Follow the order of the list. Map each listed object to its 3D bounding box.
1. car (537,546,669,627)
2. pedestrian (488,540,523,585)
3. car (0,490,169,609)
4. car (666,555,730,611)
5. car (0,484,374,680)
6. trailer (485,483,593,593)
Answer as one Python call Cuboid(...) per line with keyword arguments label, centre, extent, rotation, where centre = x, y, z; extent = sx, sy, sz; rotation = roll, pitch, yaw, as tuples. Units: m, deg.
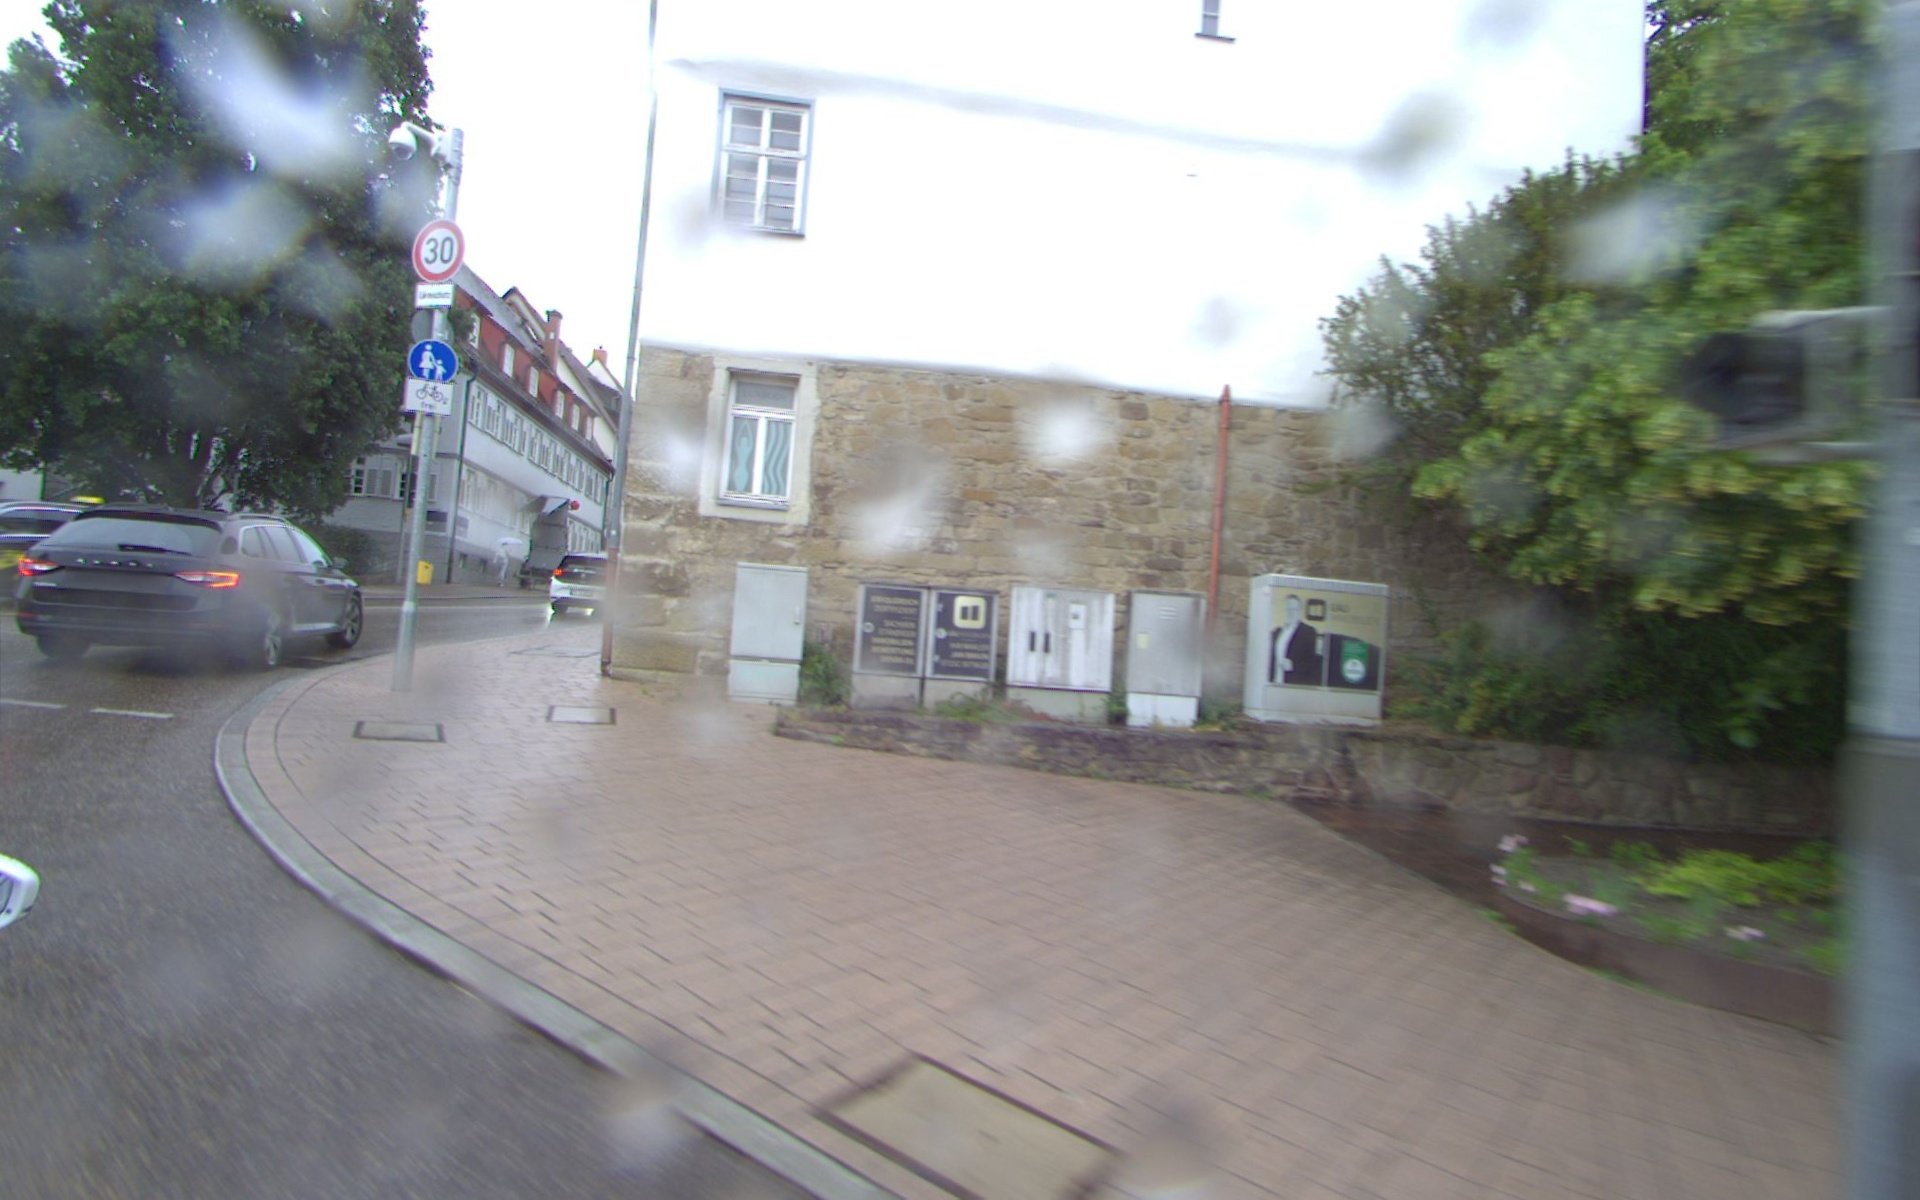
Cuboid(label="car", centre=(-8.724, -0.251, 24.985), extent=(1.828, 1.488, 4.005), rotation=(7, -4, -2))
Cuboid(label="pedestrian", centre=(-16.796, -1.378, 37.169), extent=(0.696, 1.550, 1.044), rotation=(6, 1, -1))
Cuboid(label="car", centre=(-13.557, -0.757, 13.530), extent=(1.962, 1.558, 4.414), rotation=(6, 0, 6))
Cuboid(label="car", centre=(-9.307, -0.554, 35.996), extent=(1.603, 1.547, 4.002), rotation=(4, -4, -7))
Cuboid(label="car", centre=(-7.739, -0.170, 10.515), extent=(1.865, 1.466, 4.339), rotation=(6, -1, -19))
Cuboid(label="trailer", centre=(-15.421, -2.165, 37.145), extent=(1.964, 3.578, 4.572), rotation=(6, 0, -3))
